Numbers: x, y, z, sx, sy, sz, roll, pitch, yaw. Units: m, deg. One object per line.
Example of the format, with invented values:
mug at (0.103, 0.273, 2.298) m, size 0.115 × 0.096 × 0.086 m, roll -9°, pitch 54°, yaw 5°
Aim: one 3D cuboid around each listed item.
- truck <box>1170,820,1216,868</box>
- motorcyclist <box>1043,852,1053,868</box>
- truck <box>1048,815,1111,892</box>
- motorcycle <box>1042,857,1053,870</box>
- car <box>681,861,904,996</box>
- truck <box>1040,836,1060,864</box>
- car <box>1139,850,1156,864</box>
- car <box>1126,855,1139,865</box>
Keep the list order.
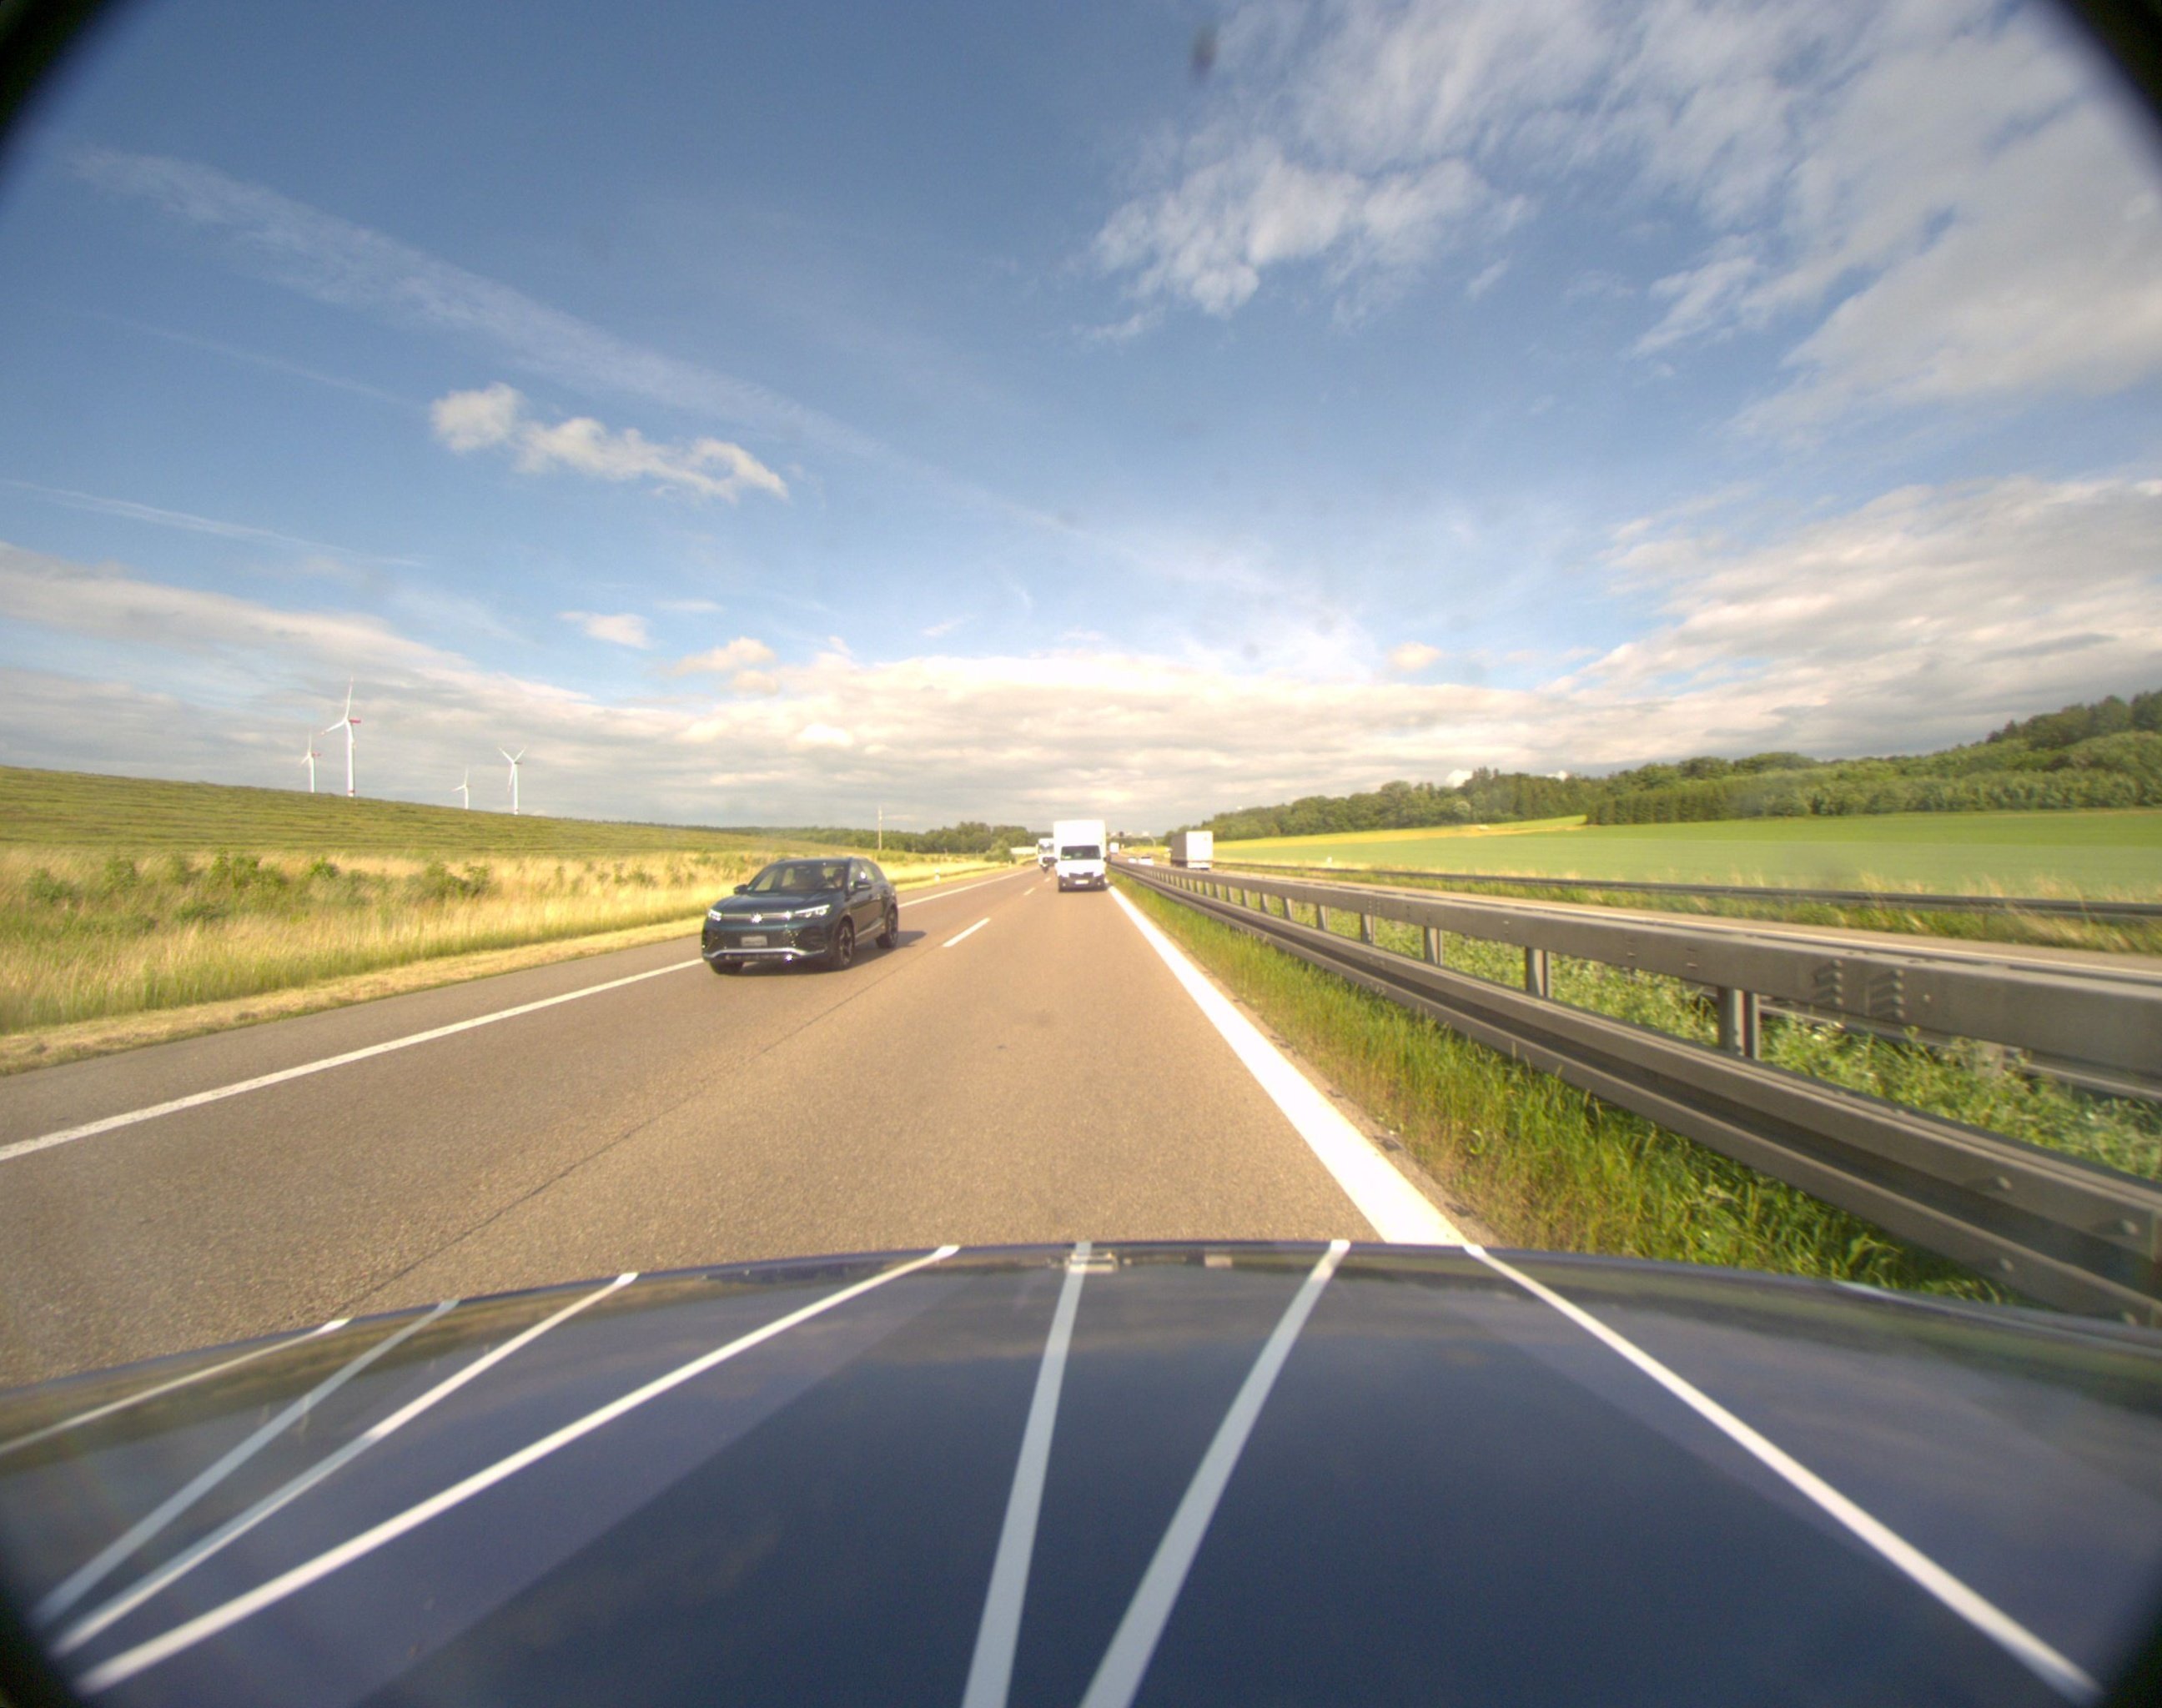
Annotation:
truck at (11.846, -1.062, 81.553) m, size 2.887 × 4.608 × 13.421 m, roll -2°, pitch 1°, yaw 0°
motorcyclist at (-3.264, 0.572, 74.433) m, size 0.852 × 1.551 × 0.934 m, roll -2°, pitch 1°, yaw 0°
truck at (-0.107, -0.004, 37.409) m, size 2.502 × 3.141 × 11.162 m, roll -2°, pitch 0°, yaw 0°
motorcycle at (-3.251, 0.875, 74.394) m, size 0.898 × 1.183 × 2.256 m, roll -2°, pitch 1°, yaw 0°
car at (-4.209, 0.980, 11.913) m, size 1.826 × 1.592 × 4.234 m, roll -2°, pitch 1°, yaw 0°
truck at (-4.559, -0.598, 111.987) m, size 2.607 × 4.017 × 6.118 m, roll -2°, pitch 1°, yaw 0°
car at (7.964, 0.347, 91.603) m, size 1.708 × 1.482 × 3.999 m, roll -2°, pitch 1°, yaw 1°
car at (8.222, 0.951, 121.863) m, size 1.708 × 1.537 × 3.999 m, roll -2°, pitch 1°, yaw 1°
